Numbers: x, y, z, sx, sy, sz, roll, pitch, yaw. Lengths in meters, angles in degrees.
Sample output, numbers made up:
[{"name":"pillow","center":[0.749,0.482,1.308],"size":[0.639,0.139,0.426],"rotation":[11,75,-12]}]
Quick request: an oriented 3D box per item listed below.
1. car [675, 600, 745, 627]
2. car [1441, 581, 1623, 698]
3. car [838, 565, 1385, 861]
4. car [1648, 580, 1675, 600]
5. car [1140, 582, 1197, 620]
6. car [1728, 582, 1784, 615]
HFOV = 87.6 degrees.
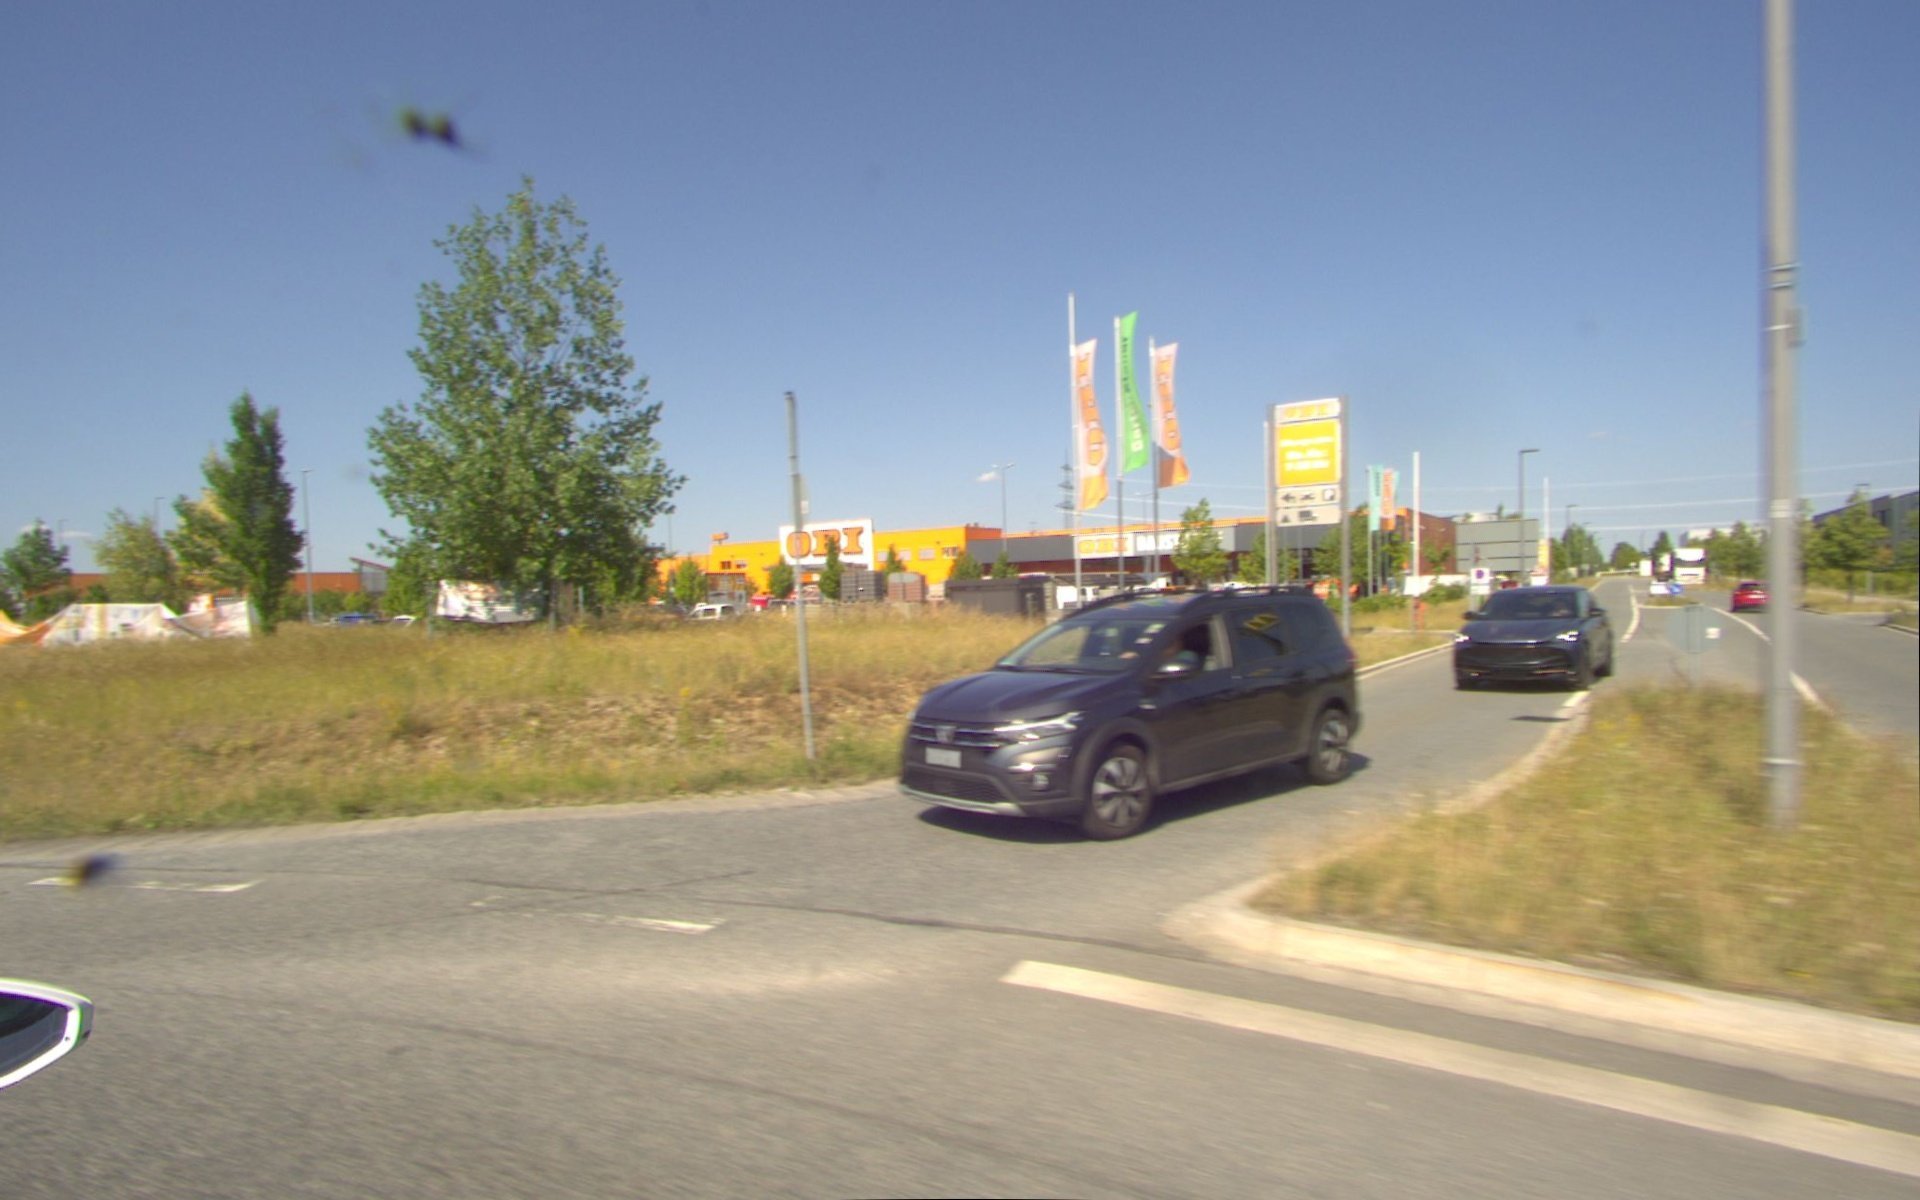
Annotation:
[{"name":"car","center":[-16.222,0.874,64.965],"size":[3.933,1.640,1.994],"rotation":[-1,1,23]},{"name":"car","center":[9.740,0.568,16.839],"size":[2.053,1.648,4.663],"rotation":[-2,0,37]},{"name":"car","center":[1.455,0.693,8.122],"size":[4.579,1.728,1.940],"rotation":[0,-2,-43]},{"name":"car","center":[53.357,-0.805,76.176],"size":[1.493,1.460,3.332],"rotation":[-1,1,32]},{"name":"car","center":[10.777,0.069,51.625],"size":[1.676,1.865,3.754],"rotation":[-1,-1,32]},{"name":"car","center":[36.800,-0.117,46.373],"size":[1.784,1.435,4.090],"rotation":[1,2,36]}]
